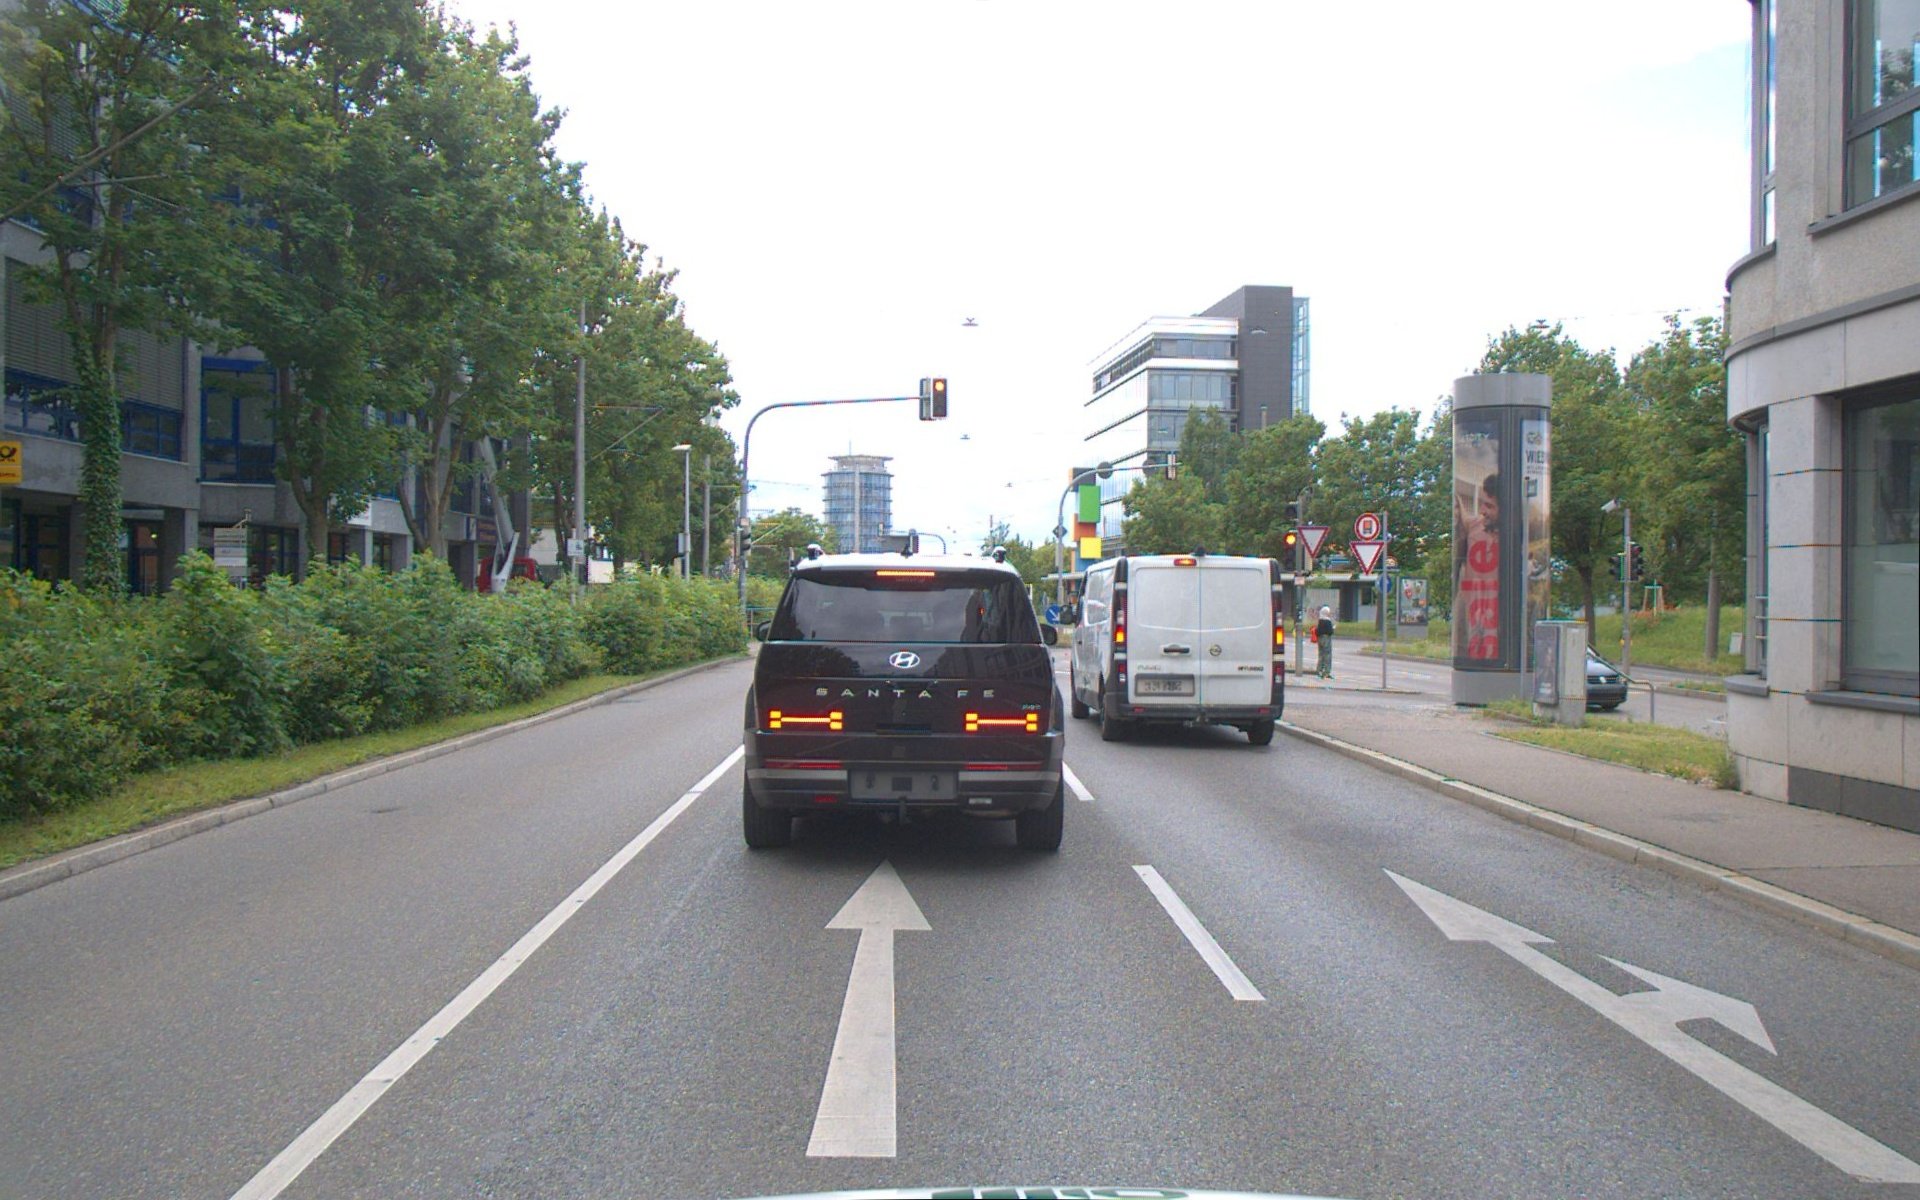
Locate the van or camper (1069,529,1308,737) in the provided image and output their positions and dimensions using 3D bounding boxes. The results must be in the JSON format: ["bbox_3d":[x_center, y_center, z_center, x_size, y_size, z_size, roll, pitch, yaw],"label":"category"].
[{"bbox_3d":[2.451,0.328,18.926,1.953,2.049,4.651,1,0,-1],"label":"van or camper"}]

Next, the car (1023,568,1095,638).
[{"bbox_3d":[3.029,0.116,51.391,1.953,2.049,3.999,1,-1,0],"label":"car"}]

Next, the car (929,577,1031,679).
[{"bbox_3d":[0.364,0.504,30.874,1.739,1.747,4.338,1,-1,0],"label":"car"}]

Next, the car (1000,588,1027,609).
[{"bbox_3d":[4.614,-0.127,142.708,1.954,1.713,3.997,1,-1,-4],"label":"car"}]

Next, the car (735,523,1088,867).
[{"bbox_3d":[-0.293,0.496,10.597,1.831,1.791,3.878,0,0,-1],"label":"car"}]

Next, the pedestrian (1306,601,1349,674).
[{"bbox_3d":[8.338,0.854,37.510,0.733,1.612,0.565,3,0,-41],"label":"pedestrian"}]

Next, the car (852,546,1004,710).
[{"bbox_3d":[-0.444,0.350,22.602,1.876,2.038,3.878,0,0,-2],"label":"car"}]

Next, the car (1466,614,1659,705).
[{"bbox_3d":[12.221,1.168,33.770,1.674,1.713,3.767,1,-1,-20],"label":"car"}]
